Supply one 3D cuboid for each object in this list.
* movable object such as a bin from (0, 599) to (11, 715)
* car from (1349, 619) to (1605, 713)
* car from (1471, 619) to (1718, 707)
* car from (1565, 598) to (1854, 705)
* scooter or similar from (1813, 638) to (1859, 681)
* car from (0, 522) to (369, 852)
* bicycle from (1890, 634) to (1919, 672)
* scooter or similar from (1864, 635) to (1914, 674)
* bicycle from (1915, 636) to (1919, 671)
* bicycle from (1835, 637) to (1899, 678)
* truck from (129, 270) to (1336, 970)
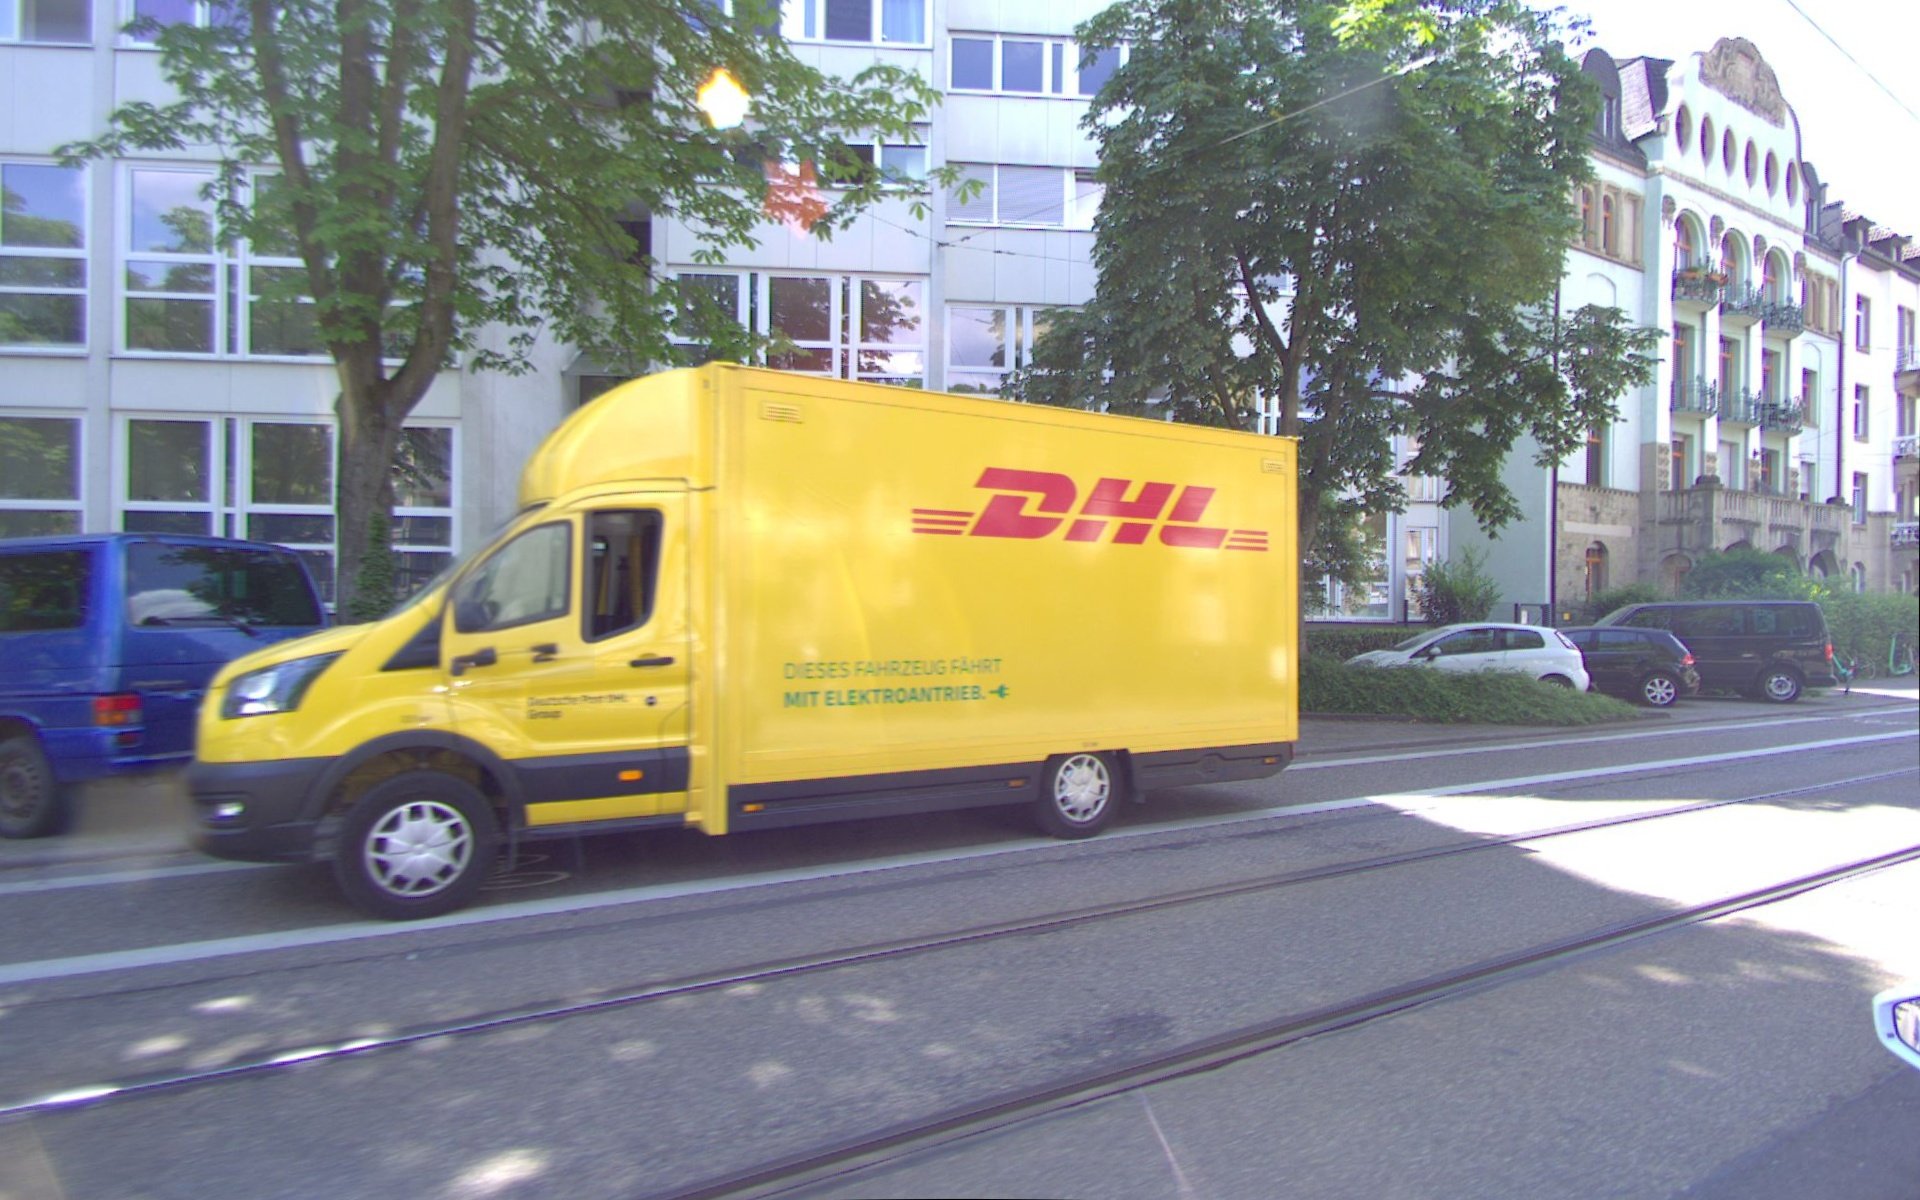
[{"bbox_3d":[-12.098,0.683,11.495,1.407,1.428,1.754,1,-1,-30],"label":"movable object such as a bin"},{"bbox_3d":[9.026,1.113,17.847,3.735,1.476,1.705,1,-1,14],"label":"car"},{"bbox_3d":[12.016,1.155,19.293,3.737,1.476,1.634,1,-1,20],"label":"car"},{"bbox_3d":[15.023,0.988,20.436,4.400,1.966,1.704,1,-1,22],"label":"car"},{"bbox_3d":[21.402,1.451,24.537,0.946,0.982,0.540,1,1,-30],"label":"scooter or similar"},{"bbox_3d":[-7.082,0.560,7.501,4.636,1.981,1.848,0,-1,14],"label":"car"},{"bbox_3d":[26.083,1.457,27.376,1.801,0.982,0.540,3,0,-30],"label":"bicycle"},{"bbox_3d":[24.620,1.431,26.612,1.481,0.982,0.540,1,1,-30],"label":"scooter or similar"},{"bbox_3d":[27.736,1.526,28.374,1.966,0.982,0.540,2,1,-30],"label":"bicycle"},{"bbox_3d":[23.105,1.447,25.579,2.222,0.982,0.540,1,1,-30],"label":"bicycle"},{"bbox_3d":[-0.821,0.133,6.994,7.289,2.890,2.350,1,-1,-30],"label":"truck"}]
